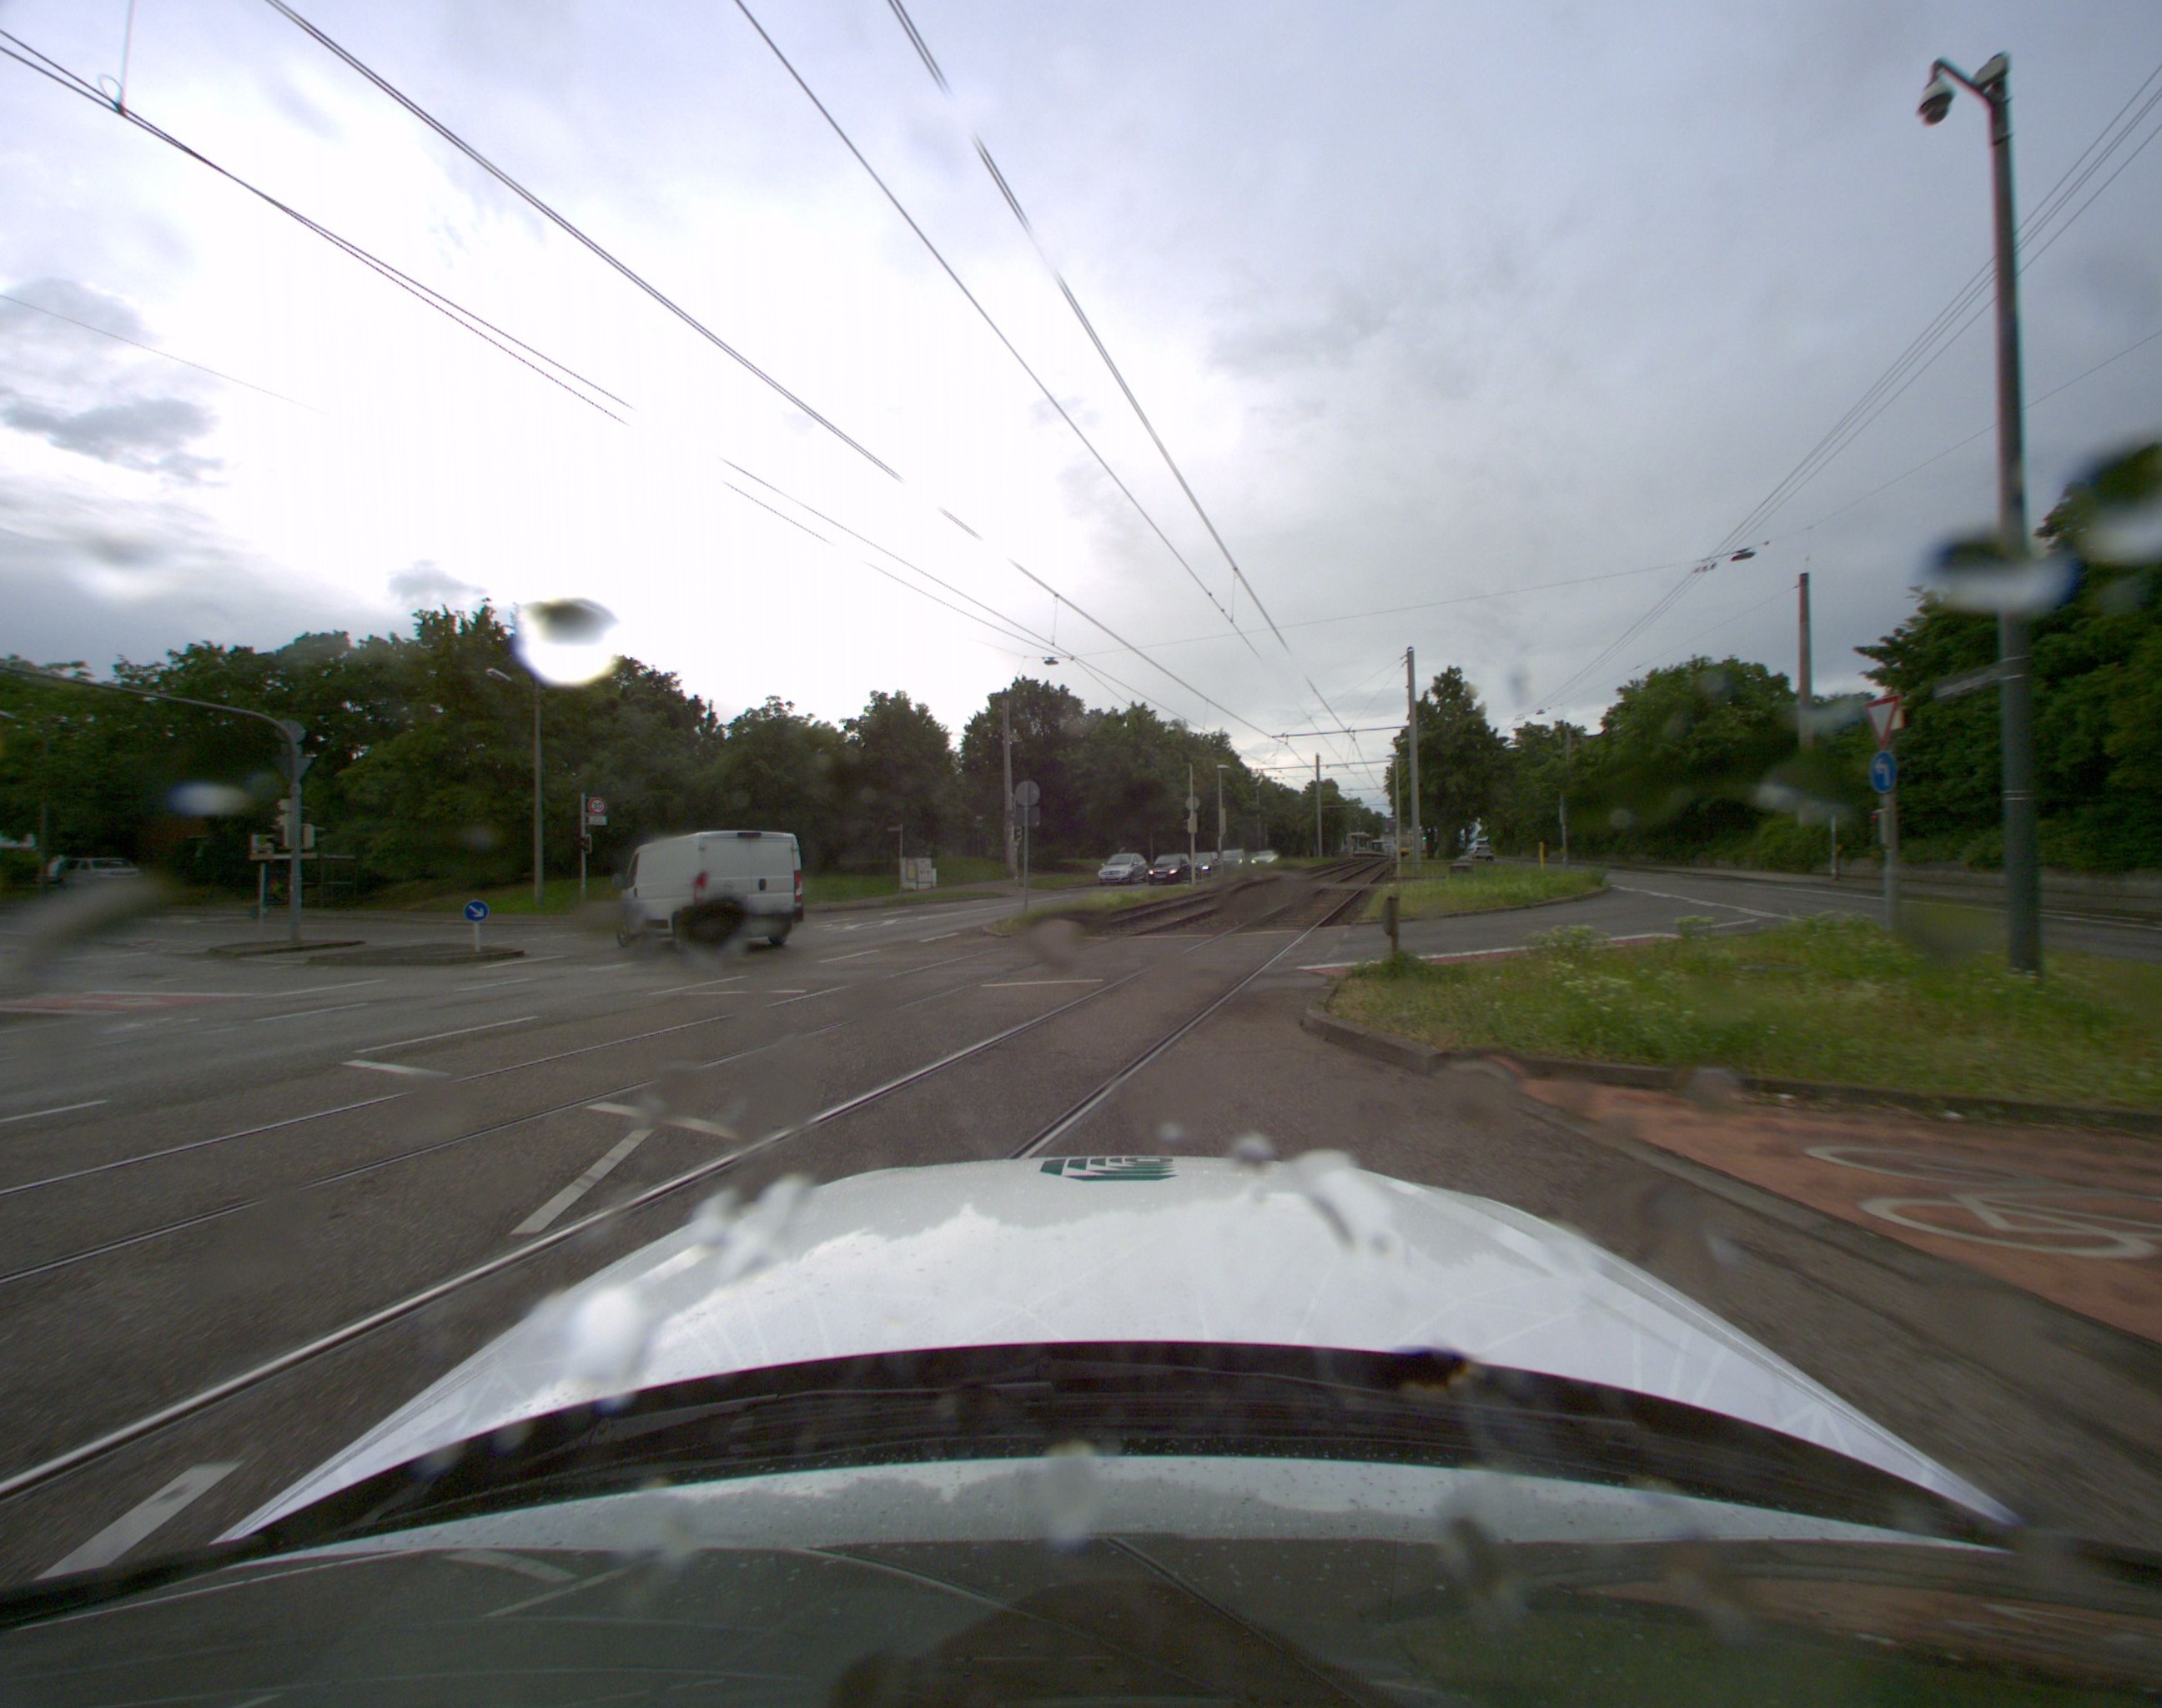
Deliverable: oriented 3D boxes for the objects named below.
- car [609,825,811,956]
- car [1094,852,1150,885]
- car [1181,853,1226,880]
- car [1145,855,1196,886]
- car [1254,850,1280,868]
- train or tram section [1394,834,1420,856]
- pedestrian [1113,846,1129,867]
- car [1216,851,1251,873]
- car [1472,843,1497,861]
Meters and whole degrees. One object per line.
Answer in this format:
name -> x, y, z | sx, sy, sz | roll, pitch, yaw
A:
car -> -7.779, 0.651, 16.795 | 2.166, 2.283, 5.000 | -2, 1, -44
car -> 2.243, 0.734, 43.292 | 1.704, 1.554, 3.883 | -4, -1, 22
car -> 7.042, 0.686, 46.541 | 1.587, 1.402, 3.812 | -4, -1, 22
car -> 4.502, 0.789, 40.636 | 1.587, 1.401, 3.812 | 0, 1, 22
car -> 16.077, 0.438, 70.369 | 1.587, 1.402, 3.812 | -3, 0, 22
train or tram section -> 60.364, -1.715, 150.448 | 4.024, 3.893, 15.124 | 0, 1, 23
pedestrian -> 3.136, 0.176, 63.786 | 1.005, 1.601, 1.044 | -1, -1, 17
car -> 10.455, 0.500, 55.668 | 1.587, 1.401, 3.812 | 0, 1, 22
car -> 36.591, -0.213, 73.917 | 1.688, 1.521, 3.811 | 0, 1, 21
